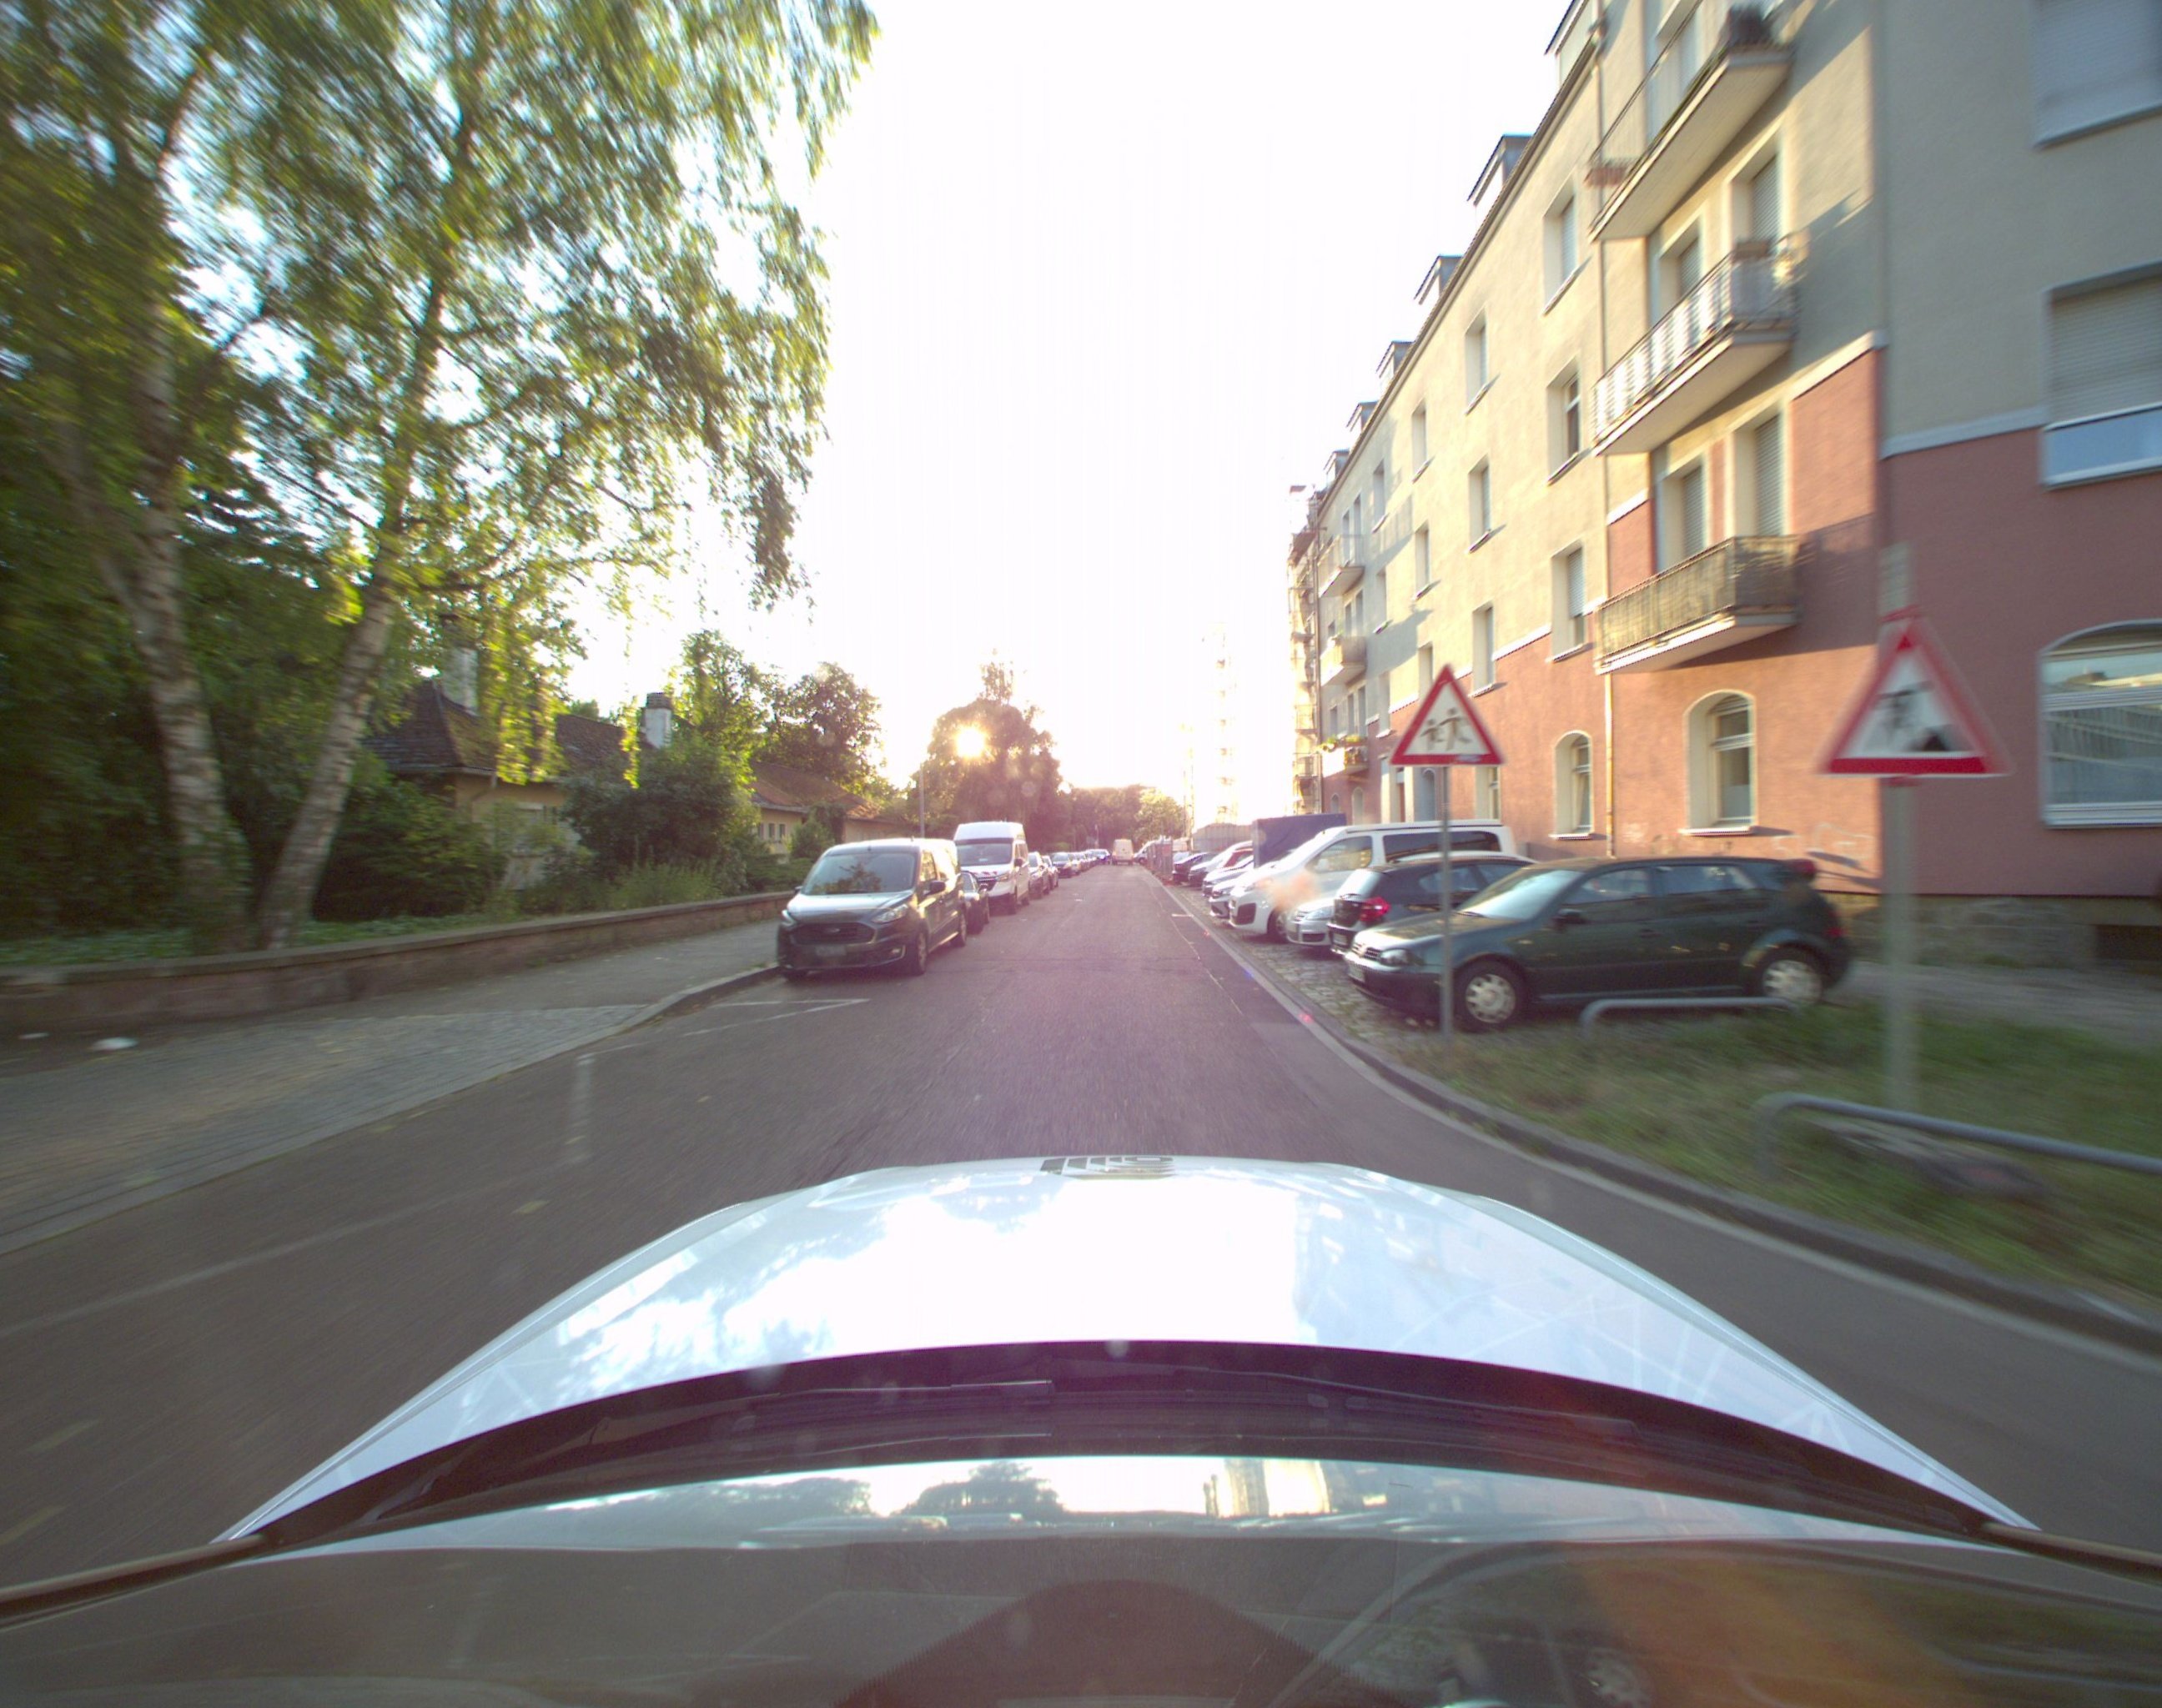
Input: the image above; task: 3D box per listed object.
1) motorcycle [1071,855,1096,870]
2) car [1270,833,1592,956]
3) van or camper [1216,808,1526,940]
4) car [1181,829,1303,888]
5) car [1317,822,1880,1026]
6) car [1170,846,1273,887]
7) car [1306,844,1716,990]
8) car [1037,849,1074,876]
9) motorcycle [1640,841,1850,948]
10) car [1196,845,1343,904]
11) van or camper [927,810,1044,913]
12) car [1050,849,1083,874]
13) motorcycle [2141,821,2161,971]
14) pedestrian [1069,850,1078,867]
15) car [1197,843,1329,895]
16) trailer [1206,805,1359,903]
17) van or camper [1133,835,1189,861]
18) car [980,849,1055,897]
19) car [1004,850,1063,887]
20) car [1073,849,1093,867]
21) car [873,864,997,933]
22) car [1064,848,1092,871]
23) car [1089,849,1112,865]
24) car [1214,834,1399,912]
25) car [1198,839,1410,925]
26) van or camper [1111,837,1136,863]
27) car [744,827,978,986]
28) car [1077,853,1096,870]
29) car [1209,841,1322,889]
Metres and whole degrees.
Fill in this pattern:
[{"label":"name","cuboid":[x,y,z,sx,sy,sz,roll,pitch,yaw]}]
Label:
[{"label":"motorcycle","cuboid":[0.249,0.790,75.136,2.147,1.303,0.884,0,0,17]},{"label":"car","cuboid":[5.039,0.557,12.188,3.973,1.618,2.000,-1,0,1]},{"label":"van or camper","cuboid":[4.976,0.334,14.535,4.815,2.096,2.041,-1,0,1]},{"label":"car","cuboid":[6.248,0.152,31.797,4.259,1.979,1.819,-4,1,-5]},{"label":"car","cuboid":[4.515,0.565,7.592,4.089,1.585,1.854,-1,0,-1]},{"label":"car","cuboid":[5.887,0.520,34.520,4.134,1.615,1.874,-1,0,4]},{"label":"car","cuboid":[5.009,0.692,9.971,3.973,1.530,2.000,-1,0,1]},{"label":"car","cuboid":[-1.435,0.479,46.796,1.987,1.453,3.999,-1,0,0]},{"label":"motorcycle","cuboid":[8.679,0.468,10.858,0.739,1.235,2.655,-1,0,3]},{"label":"car","cuboid":[5.602,0.580,24.522,3.974,1.637,1.903,-1,0,-1]},{"label":"van or camper","cuboid":[-2.460,0.174,22.790,1.984,2.457,6.092,-1,0,5]},{"label":"car","cuboid":[-0.865,0.472,52.314,1.775,1.445,4.751,-4,0,2]},{"label":"motorcycle","cuboid":[10.193,0.407,6.921,0.828,1.434,2.368,-1,0,37]},{"label":"pedestrian","cuboid":[-0.802,0.499,90.681,0.934,1.830,0.787,0,0,1]},{"label":"car","cuboid":[5.925,0.467,26.817,3.952,1.572,1.788,-1,0,-1]},{"label":"trailer","cuboid":[5.356,0.000,21.984,3.556,2.337,1.940,-3,0,-1]},{"label":"van or camper","cuboid":[8.687,-0.648,88.881,5.906,2.770,2.110,0,0,1]},{"label":"car","cuboid":[-2.138,0.615,28.935,1.985,1.519,4.793,-1,0,3]},{"label":"car","cuboid":[-1.928,0.571,34.330,1.985,1.453,4.292,-1,0,3]},{"label":"car","cuboid":[0.192,0.335,71.921,1.595,1.431,3.805,-4,0,2]},{"label":"car","cuboid":[-2.883,0.836,16.987,1.989,1.189,4.033,-1,0,-2]},{"label":"car","cuboid":[-0.168,0.405,60.875,1.852,1.538,4.761,-2,0,2]},{"label":"car","cuboid":[2.136,0.319,88.222,1.793,1.569,4.578,-2,0,10]},{"label":"car","cuboid":[5.391,0.455,19.899,3.973,1.728,2.000,-1,-1,1]},{"label":"car","cuboid":[4.601,0.565,17.286,3.973,1.640,2.000,-1,-1,1]},{"label":"van or camper","cuboid":[4.496,-0.393,85.802,2.443,2.547,6.088,1,0,3]},{"label":"car","cuboid":[-2.894,0.603,12.026,1.903,1.788,4.951,-2,0,2]},{"label":"car","cuboid":[0.558,0.665,78.322,1.709,1.496,4.362,-2,0,2]},{"label":"car","cuboid":[6.572,0.374,29.345,3.679,1.610,1.745,-1,0,0]}]
